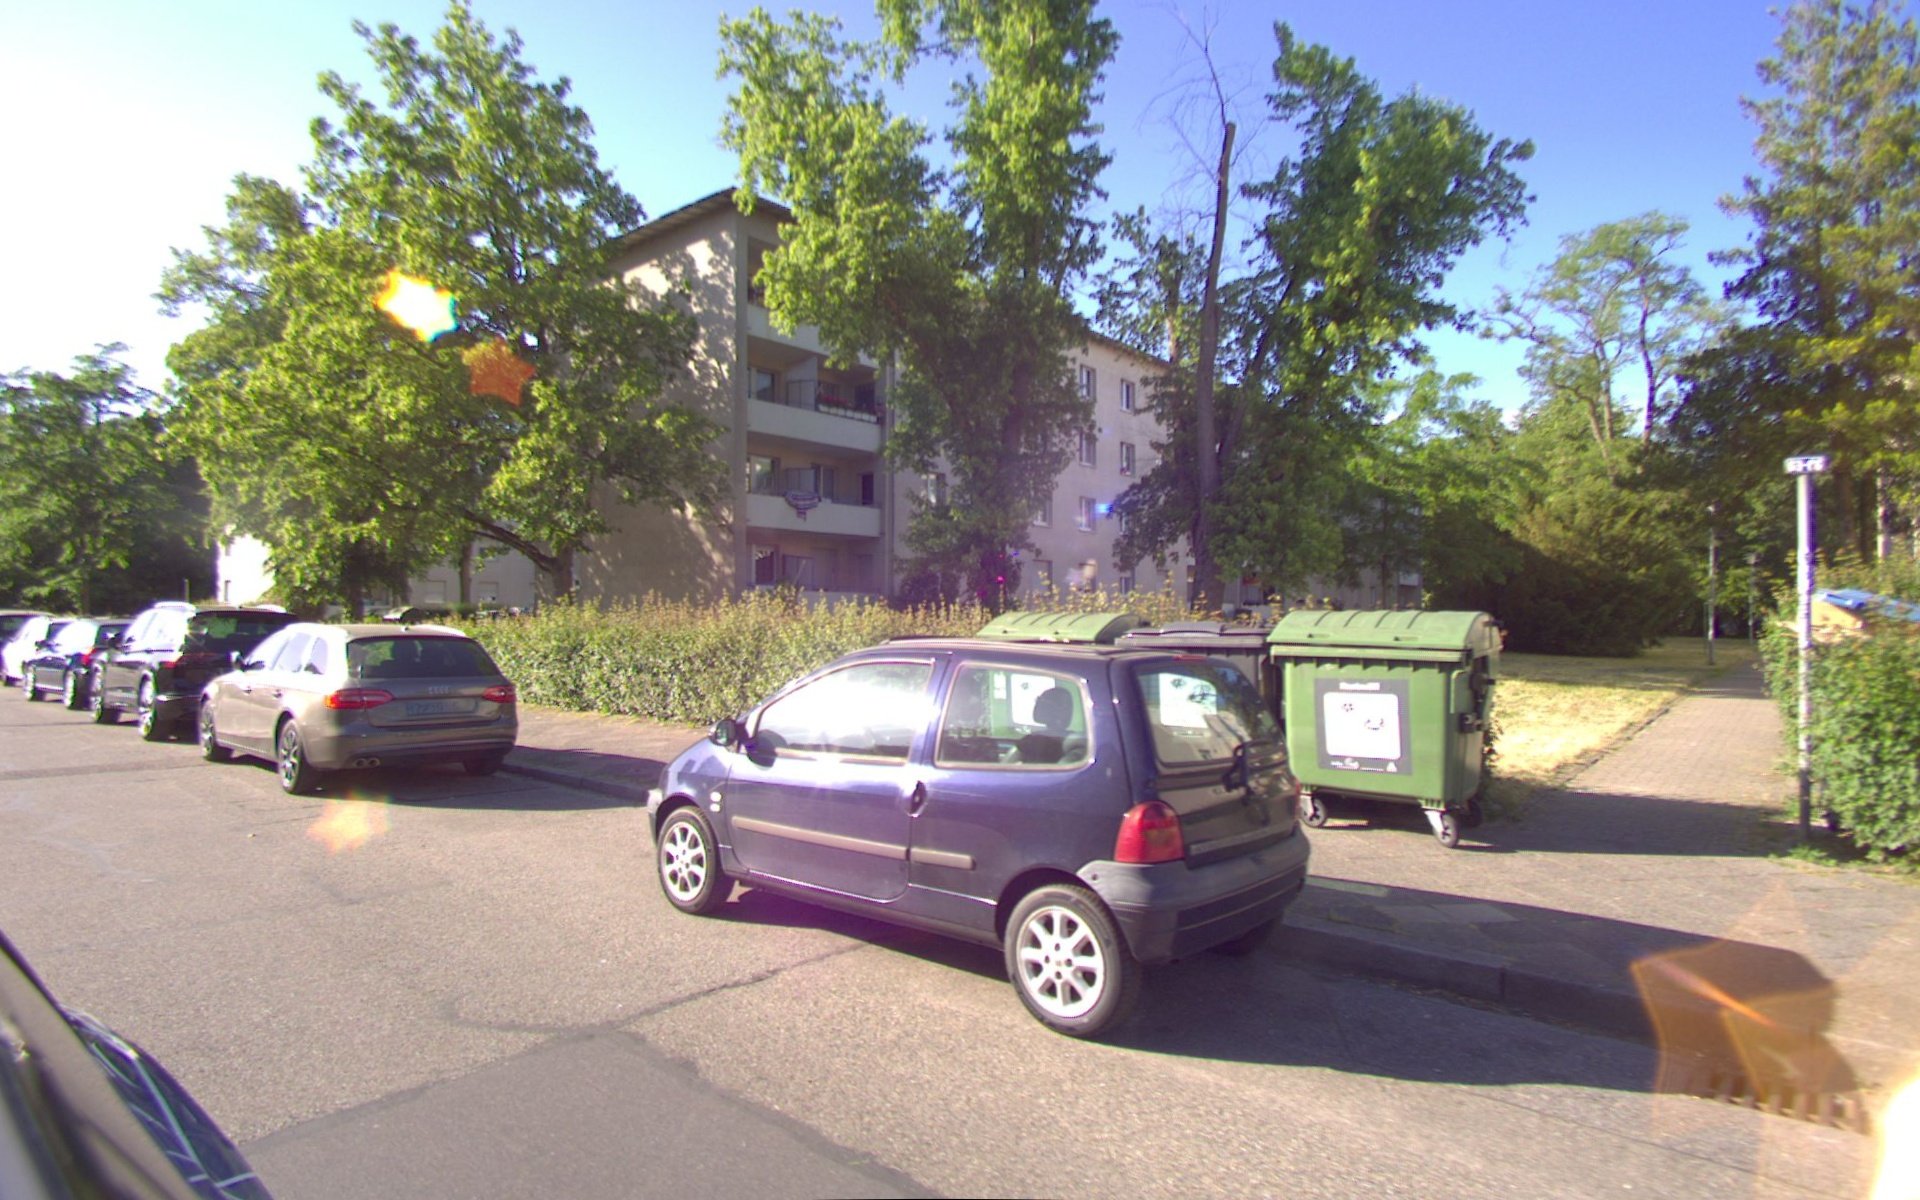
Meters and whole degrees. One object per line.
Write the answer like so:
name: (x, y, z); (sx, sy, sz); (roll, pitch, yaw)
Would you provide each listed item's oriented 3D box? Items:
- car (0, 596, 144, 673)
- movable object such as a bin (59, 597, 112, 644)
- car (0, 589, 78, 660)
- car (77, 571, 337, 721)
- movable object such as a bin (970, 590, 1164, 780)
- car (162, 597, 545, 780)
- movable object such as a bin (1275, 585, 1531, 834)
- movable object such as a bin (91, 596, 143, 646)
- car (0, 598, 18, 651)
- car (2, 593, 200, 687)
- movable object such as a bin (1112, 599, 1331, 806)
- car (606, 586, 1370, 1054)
car: (-18.598, 0.718, 21.036); (4.147, 1.448, 1.736); (-1, -3, 40)
movable object such as a bin: (-27.740, 0.639, 32.098); (1.262, 1.425, 0.996); (-1, 1, 36)
car: (-23.327, 0.611, 24.781); (4.427, 1.618, 1.789); (-1, -3, 39)
car: (-10.069, 0.574, 13.408); (4.386, 1.681, 1.736); (-1, -3, 40)
movable object such as a bin: (0.895, 0.653, 8.483); (1.325, 1.425, 0.886); (-1, 1, 39)
car: (-6.086, 0.707, 9.898); (4.670, 1.396, 1.736); (0, -2, 40)
movable object such as a bin: (2.927, 0.640, 6.691); (1.325, 1.425, 0.992); (-1, 1, 39)
movable object such as a bin: (-25.552, 0.628, 30.668); (1.262, 1.425, 0.886); (-1, 1, 36)
car: (-28.807, 0.691, 29.175); (3.935, 1.490, 1.789); (-1, -3, 38)
car: (-14.466, 0.656, 16.979); (4.164, 1.396, 1.623); (-1, -3, 37)
movable object such as a bin: (2.003, 0.703, 7.733); (1.256, 1.376, 1.108); (-1, 1, 39)
car: (-0.037, 0.747, 4.971); (3.492, 1.475, 1.632); (-1, -3, 40)
